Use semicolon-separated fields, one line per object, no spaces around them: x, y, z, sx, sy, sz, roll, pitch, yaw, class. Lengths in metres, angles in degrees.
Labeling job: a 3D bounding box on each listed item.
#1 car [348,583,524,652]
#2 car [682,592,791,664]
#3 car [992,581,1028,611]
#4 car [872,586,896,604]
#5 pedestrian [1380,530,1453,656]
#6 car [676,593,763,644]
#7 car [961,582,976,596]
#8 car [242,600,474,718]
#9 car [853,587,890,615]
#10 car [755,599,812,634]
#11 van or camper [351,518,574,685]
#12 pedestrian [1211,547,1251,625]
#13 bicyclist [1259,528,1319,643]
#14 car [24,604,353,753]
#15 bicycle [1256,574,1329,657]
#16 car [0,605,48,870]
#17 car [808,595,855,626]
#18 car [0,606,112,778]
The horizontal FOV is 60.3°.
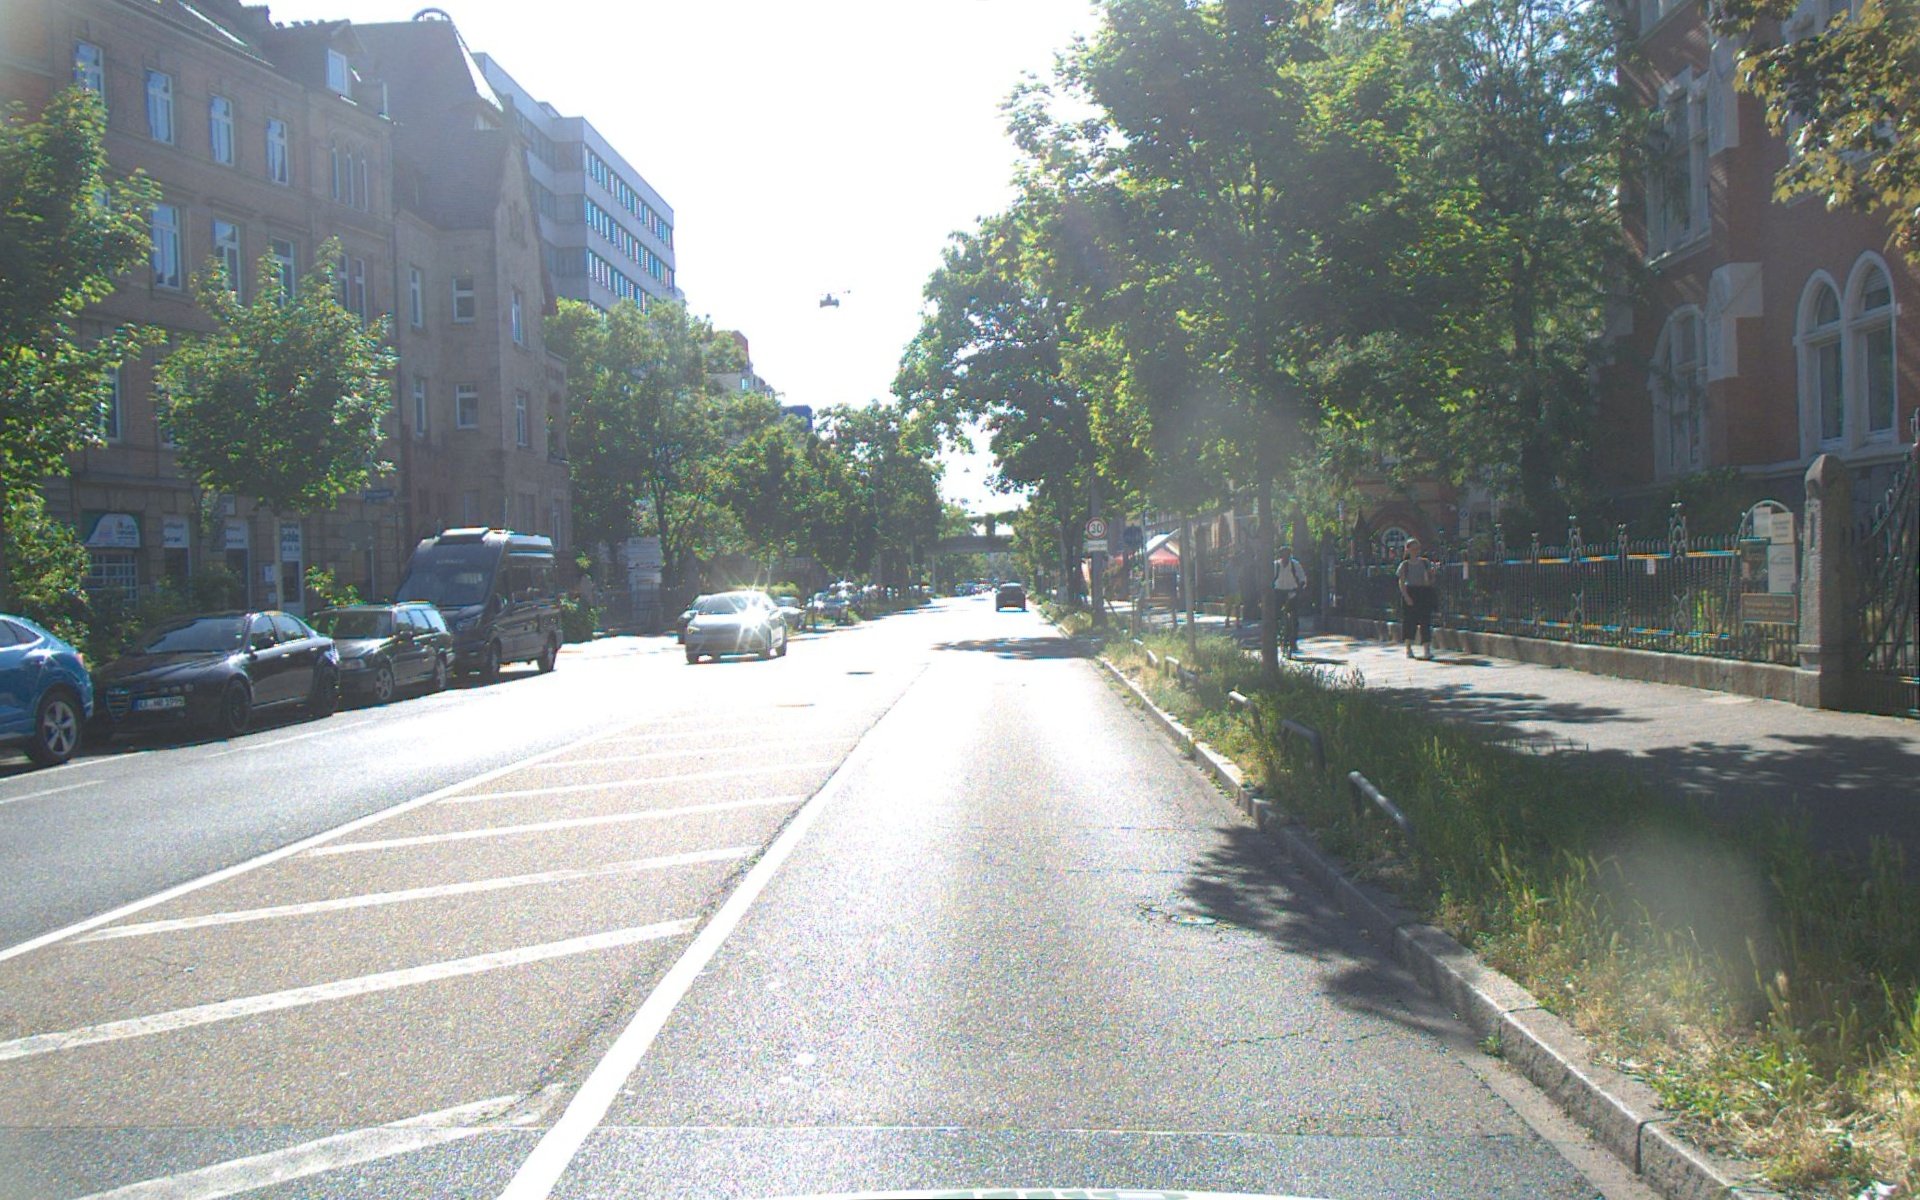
-13.833;0.448;43.700;4.090;1.699;1.979;0;2;-32;car
-4.778;0.555;35.850;1.879;1.444;4.224;0;1;-1;car
2.849;-0.243;95.404;1.944;1.628;4.141;-1;1;0;car
-6.906;-0.482;149.849;1.817;1.595;3.873;-1;1;2;car
6.416;-0.102;23.291;0.680;1.687;0.820;-5;0;1;pedestrian
-7.551;0.541;52.363;1.817;1.452;4.721;2;1;2;car
1.169;-1.492;224.100;1.818;1.856;4.610;-4;1;0;car
-9.073;0.818;25.391;1.659;1.482;4.665;-4;1;2;car
-4.985;0.030;93.751;1.676;1.484;4.074;-1;1;3;car
-6.961;0.620;65.627;1.643;1.277;4.016;-1;1;2;car
-9.286;-0.013;31.561;2.170;2.787;6.090;-2;1;2;van or camper
6.592;-0.339;40.252;0.732;1.818;0.811;-5;0;15;pedestrian
5.160;-0.227;25.980;0.608;1.719;0.820;-5;1;-2;bicyclist
-9.135;0.854;20.059;1.744;1.438;4.406;-4;1;2;car
5.200;0.221;25.994;0.603;1.196;1.918;-5;1;-2;bicycle
-6.228;0.824;7.674;1.559;1.475;4.134;-2;1;2;car
-6.339;0.488;81.833;1.652;1.407;4.193;-1;1;4;car
-9.803;0.901;14.951;1.743;1.565;4.560;-2;1;2;car
